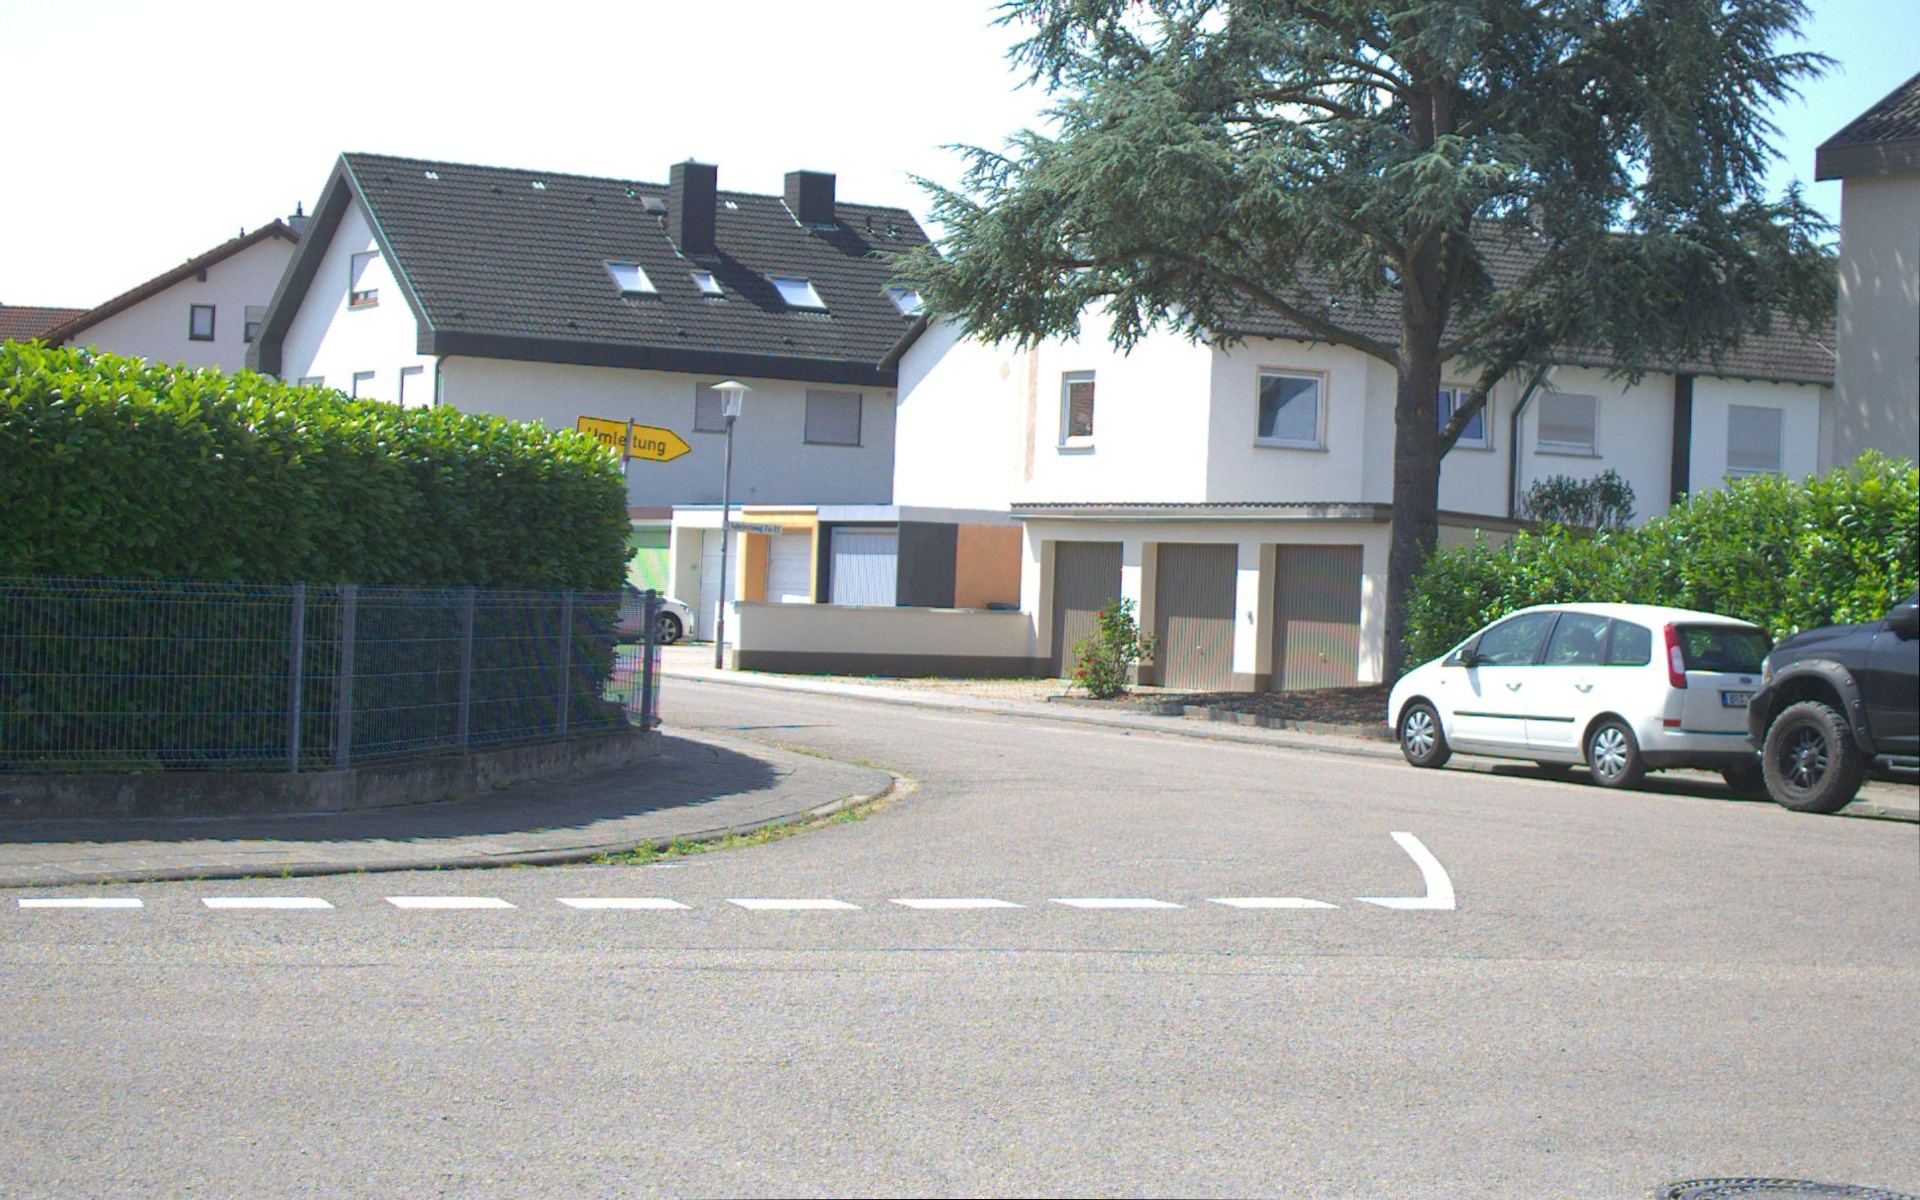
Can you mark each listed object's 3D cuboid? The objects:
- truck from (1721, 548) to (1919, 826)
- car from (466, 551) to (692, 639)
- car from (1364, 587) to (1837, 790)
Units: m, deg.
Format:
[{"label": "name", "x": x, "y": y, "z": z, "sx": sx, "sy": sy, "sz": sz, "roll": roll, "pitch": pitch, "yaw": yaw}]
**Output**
[{"label": "truck", "x": 8.509, "y": 0.715, "z": 25.091, "sx": 2.363, "sy": 2.007, "sz": 5.713, "roll": 2, "pitch": 0, "yaw": -32}, {"label": "car", "x": -6.900, "y": -0.092, "z": 62.255, "sx": 3.598, "sy": 1.403, "sz": 1.784, "roll": 2, "pitch": 0, "yaw": -29}, {"label": "car", "x": 5.668, "y": 0.755, "z": 30.885, "sx": 1.797, "sy": 1.558, "sz": 4.144, "roll": 3, "pitch": 0, "yaw": -32}]
